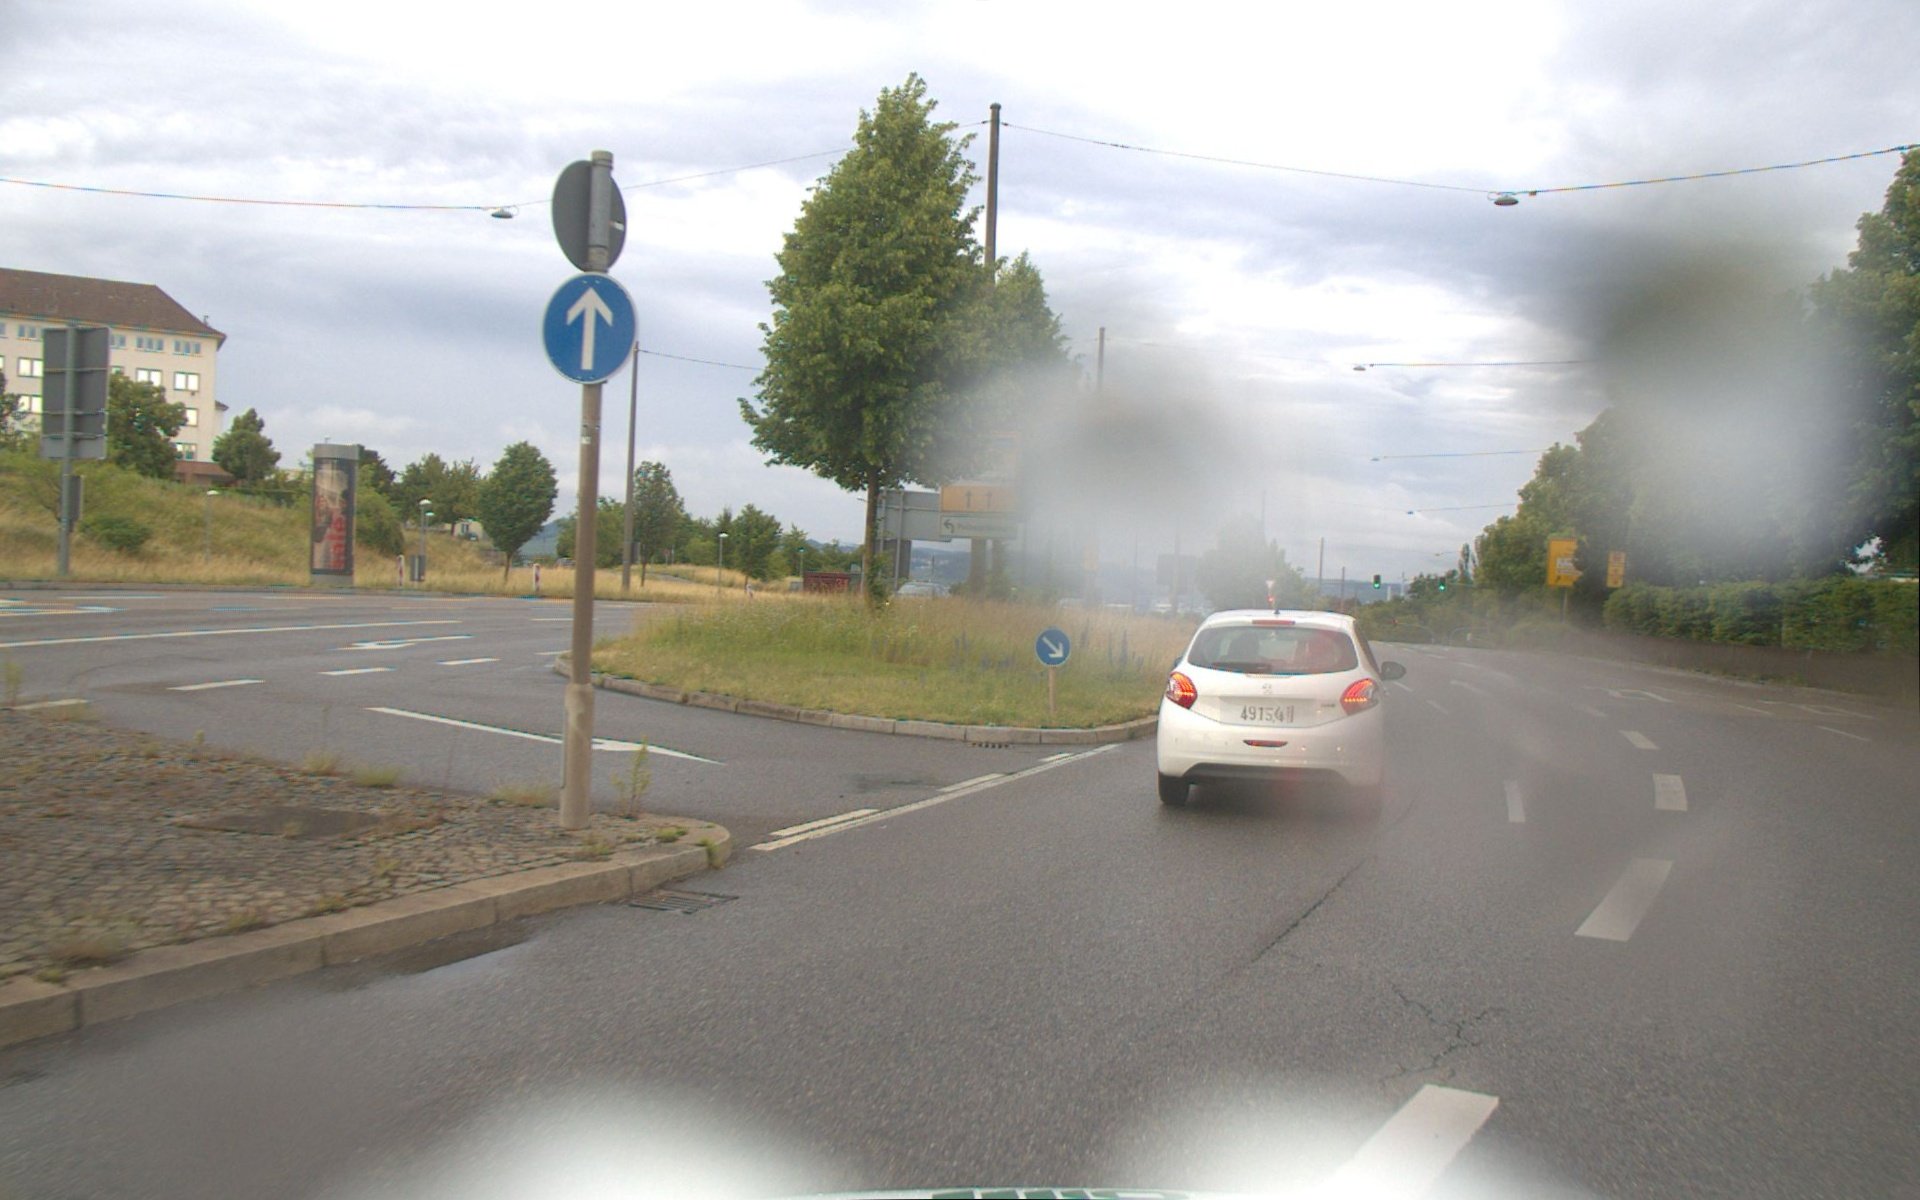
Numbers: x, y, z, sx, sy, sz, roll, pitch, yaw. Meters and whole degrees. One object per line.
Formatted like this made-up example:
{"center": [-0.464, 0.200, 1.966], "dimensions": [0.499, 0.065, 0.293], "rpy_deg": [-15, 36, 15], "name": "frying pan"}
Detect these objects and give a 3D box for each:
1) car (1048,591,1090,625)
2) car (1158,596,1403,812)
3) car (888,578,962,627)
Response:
{"center": [6.198, 0.445, 93.691], "dimensions": [1.730, 1.780, 4.003], "rpy_deg": [2, 1, 12], "name": "car"}
{"center": [2.685, 0.734, 13.424], "dimensions": [1.672, 1.465, 3.693], "rpy_deg": [1, 0, 14], "name": "car"}
{"center": [-1.236, 0.076, 60.820], "dimensions": [1.838, 1.682, 4.361], "rpy_deg": [2, 1, 10], "name": "car"}
